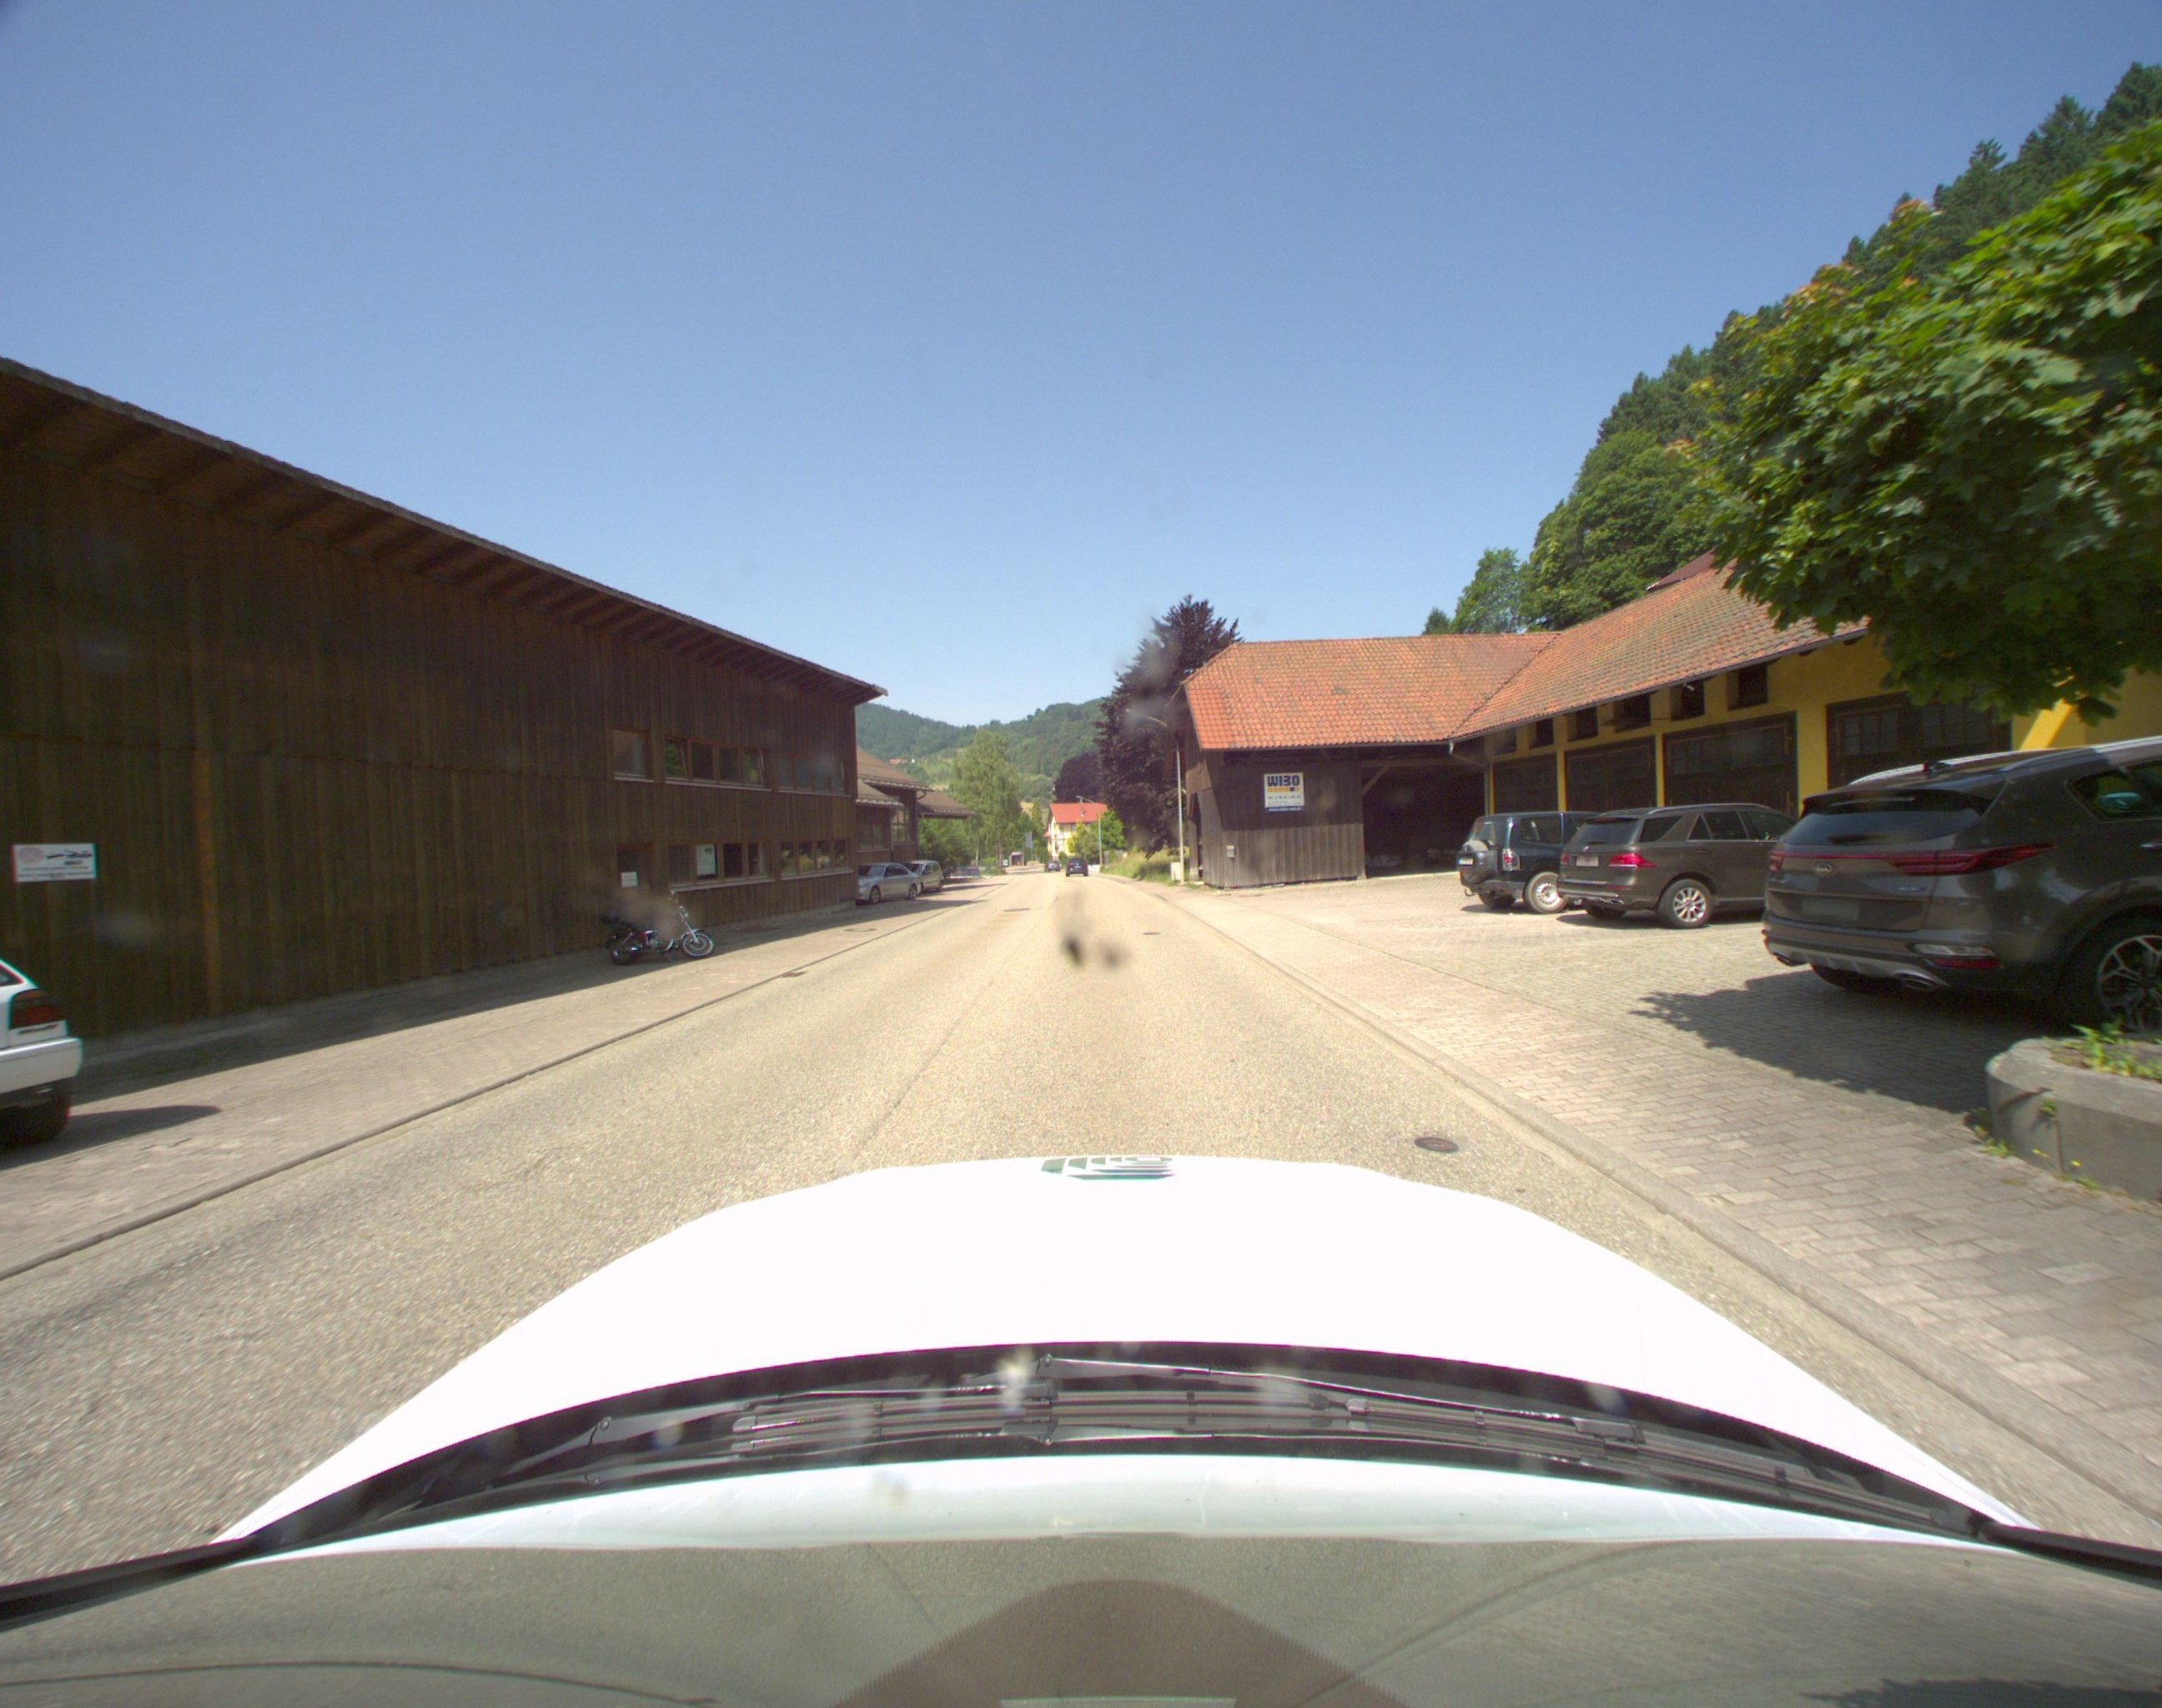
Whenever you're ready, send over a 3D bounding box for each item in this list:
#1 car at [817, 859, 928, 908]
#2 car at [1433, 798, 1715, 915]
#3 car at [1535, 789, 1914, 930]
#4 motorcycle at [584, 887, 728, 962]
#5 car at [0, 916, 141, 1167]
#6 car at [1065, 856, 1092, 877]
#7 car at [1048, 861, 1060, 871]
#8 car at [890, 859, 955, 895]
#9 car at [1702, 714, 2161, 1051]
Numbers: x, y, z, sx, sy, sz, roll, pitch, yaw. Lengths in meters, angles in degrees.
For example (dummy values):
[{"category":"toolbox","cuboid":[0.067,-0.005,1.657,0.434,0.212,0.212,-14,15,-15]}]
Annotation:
[{"category":"car","cuboid":[-7.422,1.018,29.534,1.716,1.454,4.824,-2,1,15]},{"category":"car","cuboid":[9.178,0.048,15.399,4.117,1.832,1.952,-3,0,-3]},{"category":"car","cuboid":[9.787,0.063,12.621,4.411,1.759,1.950,-3,0,-5]},{"category":"motorcycle","cuboid":[-8.033,1.327,15.406,2.393,1.264,0.745,-3,0,10]},{"category":"car","cuboid":[-8.053,1.300,4.876,3.631,1.385,1.718,-7,-1,16]},{"category":"car","cuboid":[-0.267,1.061,70.172,1.917,1.698,3.781,-3,0,-5]},{"category":"car","cuboid":[-3.516,1.549,107.329,1.474,1.209,2.381,-3,0,-4]},{"category":"car","cuboid":[-7.582,1.081,39.412,1.570,1.570,4.037,1,1,13]},{"category":"car","cuboid":[6.862,-0.026,5.205,4.202,1.687,1.779,-7,-1,4]}]
